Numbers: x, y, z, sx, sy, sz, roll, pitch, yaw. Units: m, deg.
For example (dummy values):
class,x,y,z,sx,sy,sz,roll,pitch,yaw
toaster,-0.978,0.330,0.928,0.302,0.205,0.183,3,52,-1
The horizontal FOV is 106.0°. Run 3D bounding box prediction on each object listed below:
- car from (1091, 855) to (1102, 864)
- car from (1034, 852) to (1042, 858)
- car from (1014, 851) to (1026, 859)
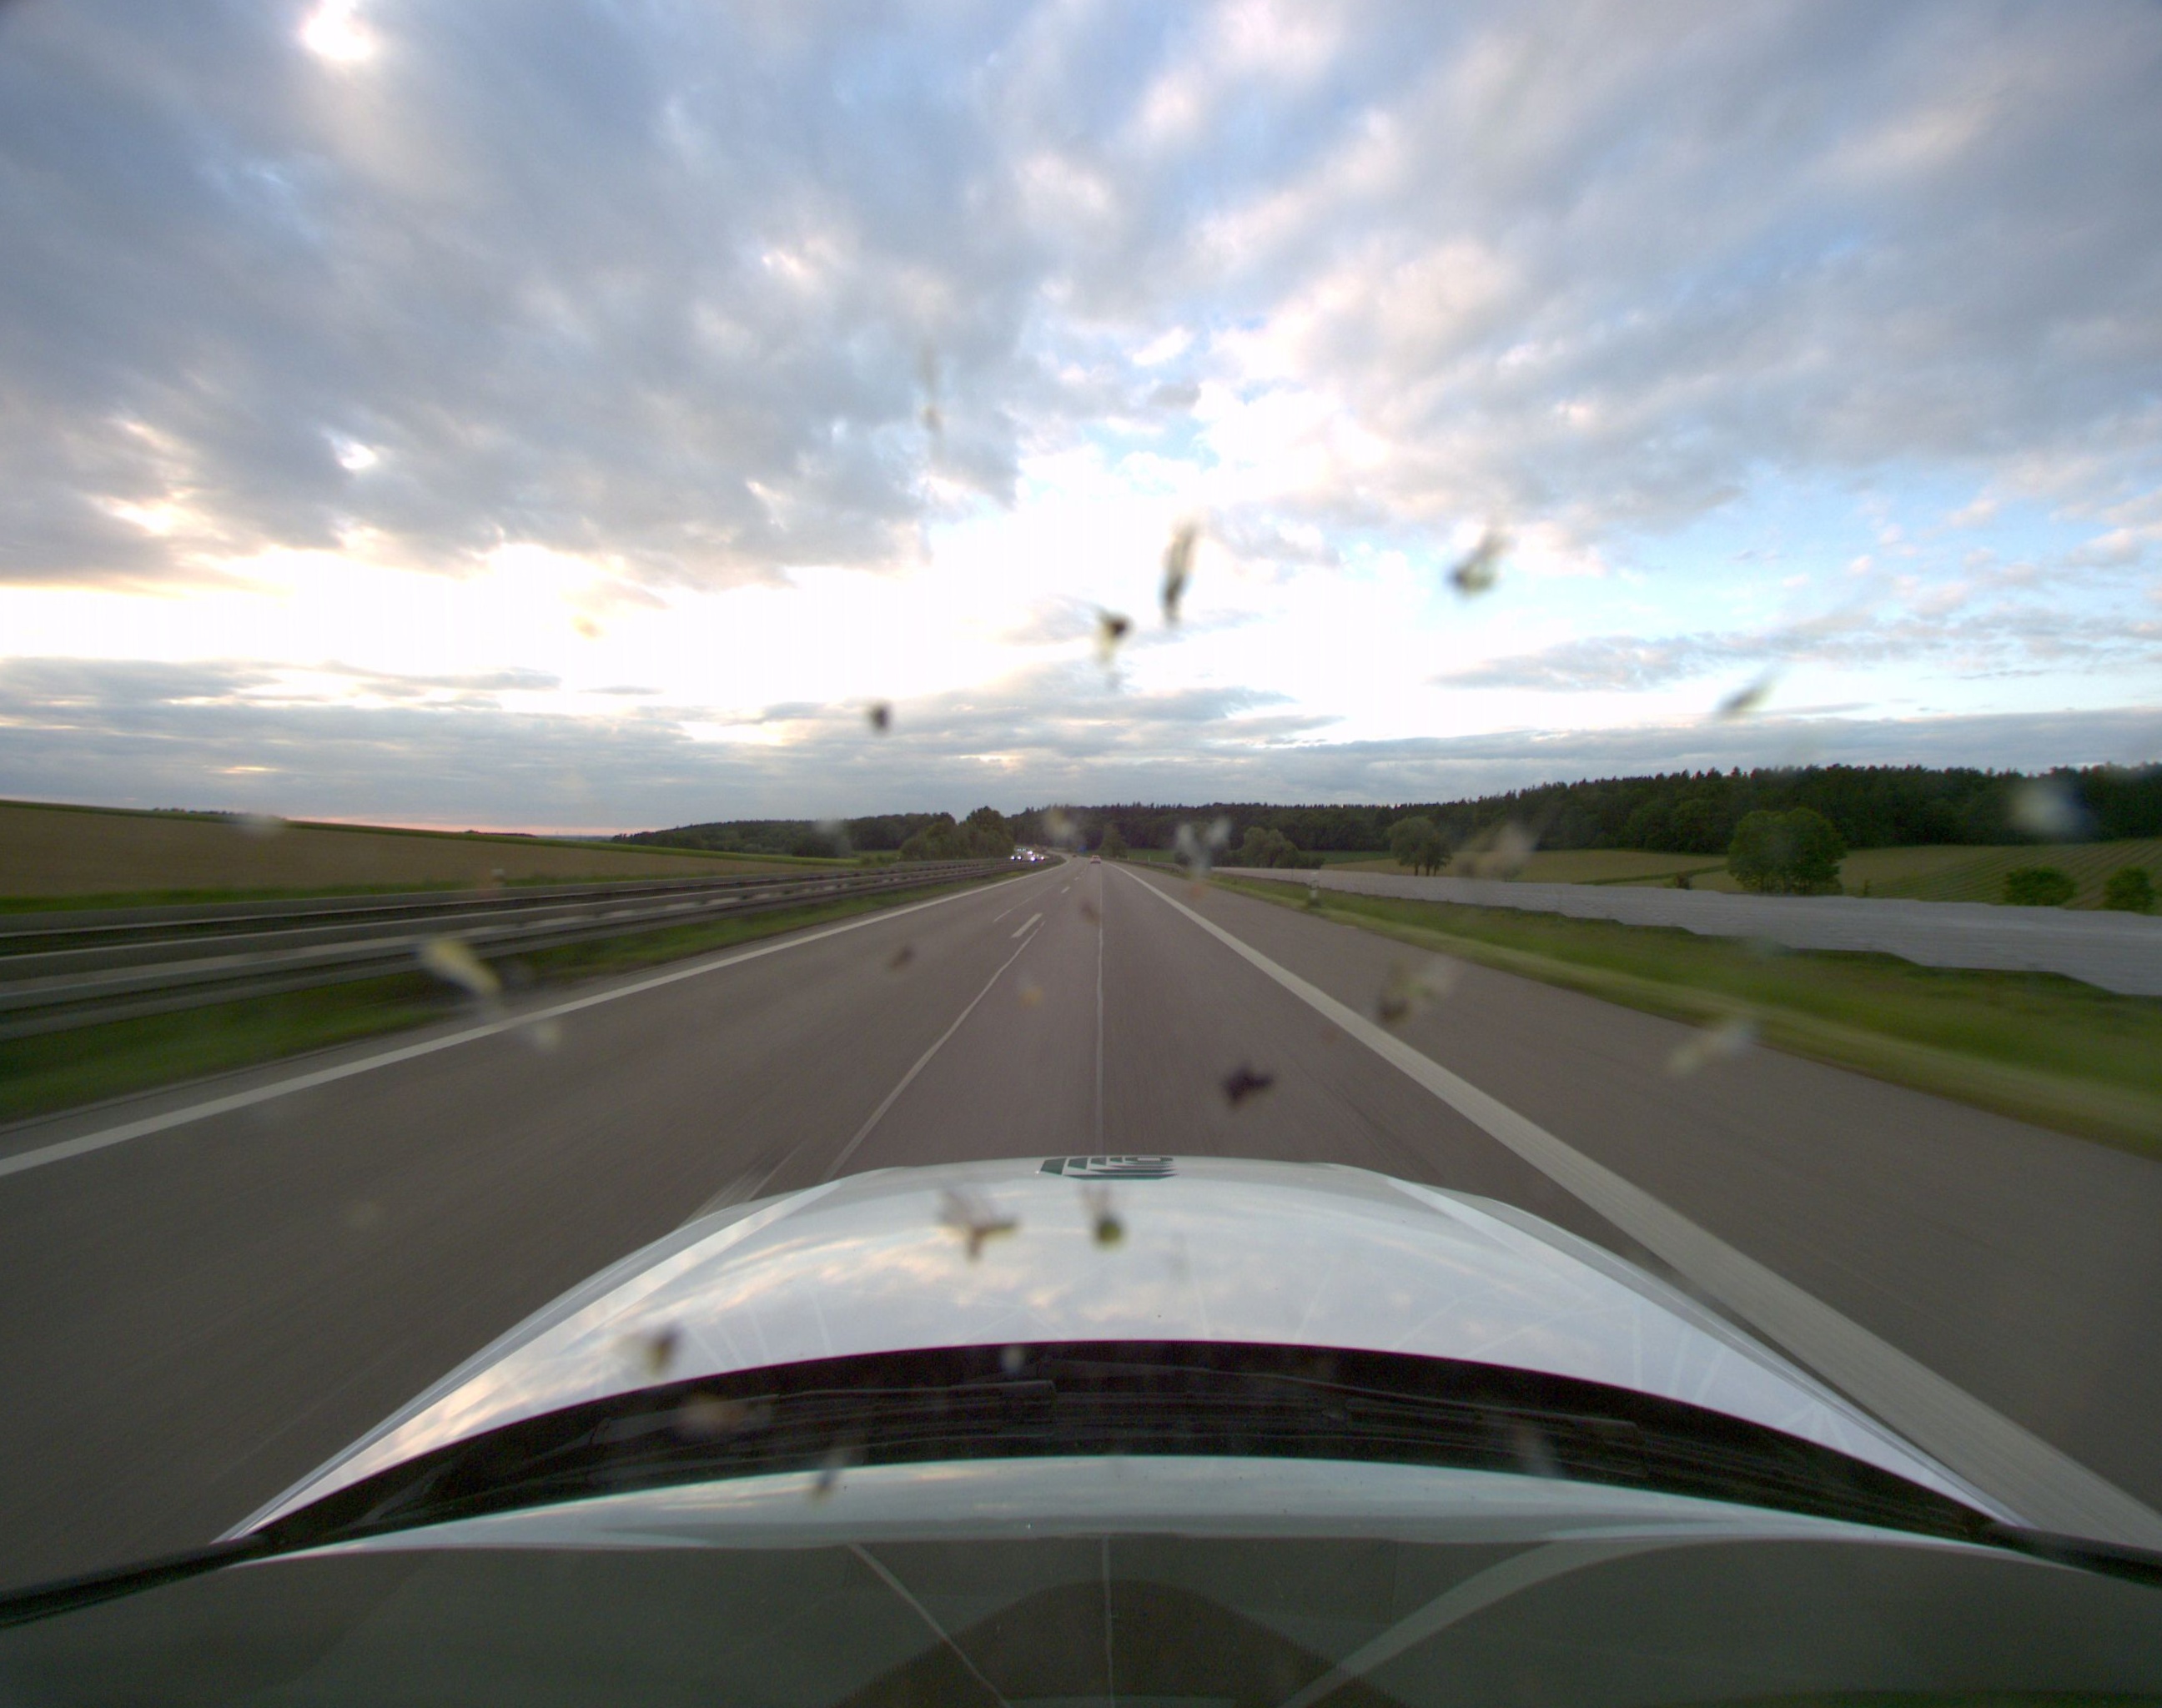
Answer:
class,x,y,z,sx,sy,sz,roll,pitch,yaw
car,2.937,1.017,153.823,1.945,1.531,4.079,2,0,0
car,-9.946,0.198,189.022,1.560,1.365,4.622,2,0,2
car,-13.596,0.247,181.481,1.879,1.694,5.770,2,-1,2
